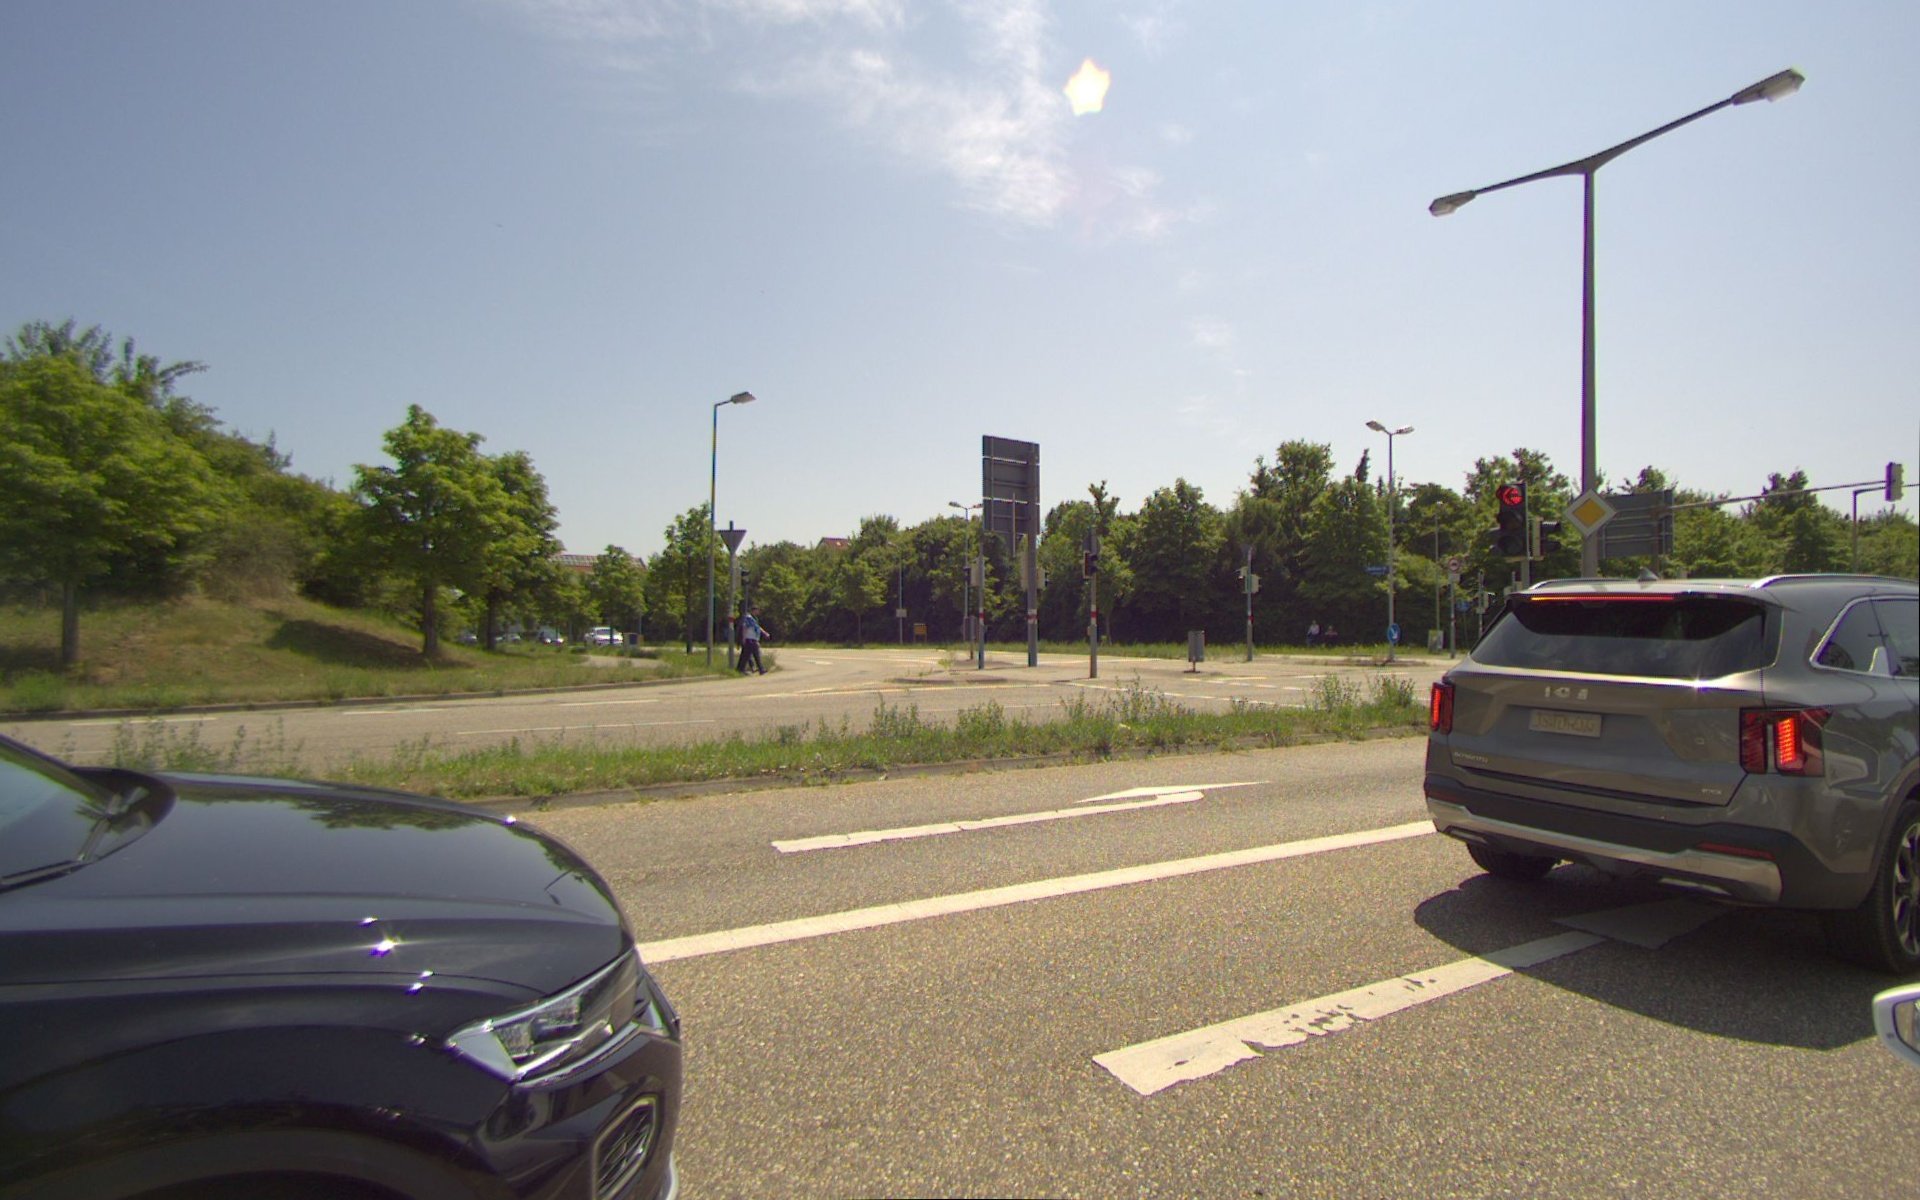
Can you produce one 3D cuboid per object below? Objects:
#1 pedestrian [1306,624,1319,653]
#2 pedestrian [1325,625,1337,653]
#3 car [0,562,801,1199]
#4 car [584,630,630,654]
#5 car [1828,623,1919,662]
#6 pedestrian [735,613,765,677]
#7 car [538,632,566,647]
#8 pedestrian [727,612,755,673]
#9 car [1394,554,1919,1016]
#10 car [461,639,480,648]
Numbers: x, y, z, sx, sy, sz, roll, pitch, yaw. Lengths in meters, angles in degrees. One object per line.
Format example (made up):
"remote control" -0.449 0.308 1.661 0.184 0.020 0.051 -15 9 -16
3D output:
"pedestrian" 19.742 2.167 56.245 0.606 1.624 0.798 -1 -1 24
"pedestrian" 20.591 2.171 55.750 0.606 1.523 0.798 0 -1 24
"car" -2.399 0.686 1.440 3.924 1.532 1.726 2 0 -30
"car" -23.644 2.800 67.144 1.860 1.522 4.269 -2 -1 -34
"car" 36.456 1.668 39.870 4.119 1.475 1.814 1 -1 -30
"pedestrian" -5.825 1.233 27.865 0.779 1.759 0.582 0 -1 -11
"car" -37.450 3.602 92.206 1.685 1.353 3.964 1 -2 -33
"pedestrian" -6.308 1.221 28.951 0.761 1.722 0.723 0 -1 -11
"car" 4.681 0.734 5.620 4.590 1.684 1.795 1 -1 -30
"car" -74.014 6.538 151.751 1.689 1.353 3.955 1 -2 -39
